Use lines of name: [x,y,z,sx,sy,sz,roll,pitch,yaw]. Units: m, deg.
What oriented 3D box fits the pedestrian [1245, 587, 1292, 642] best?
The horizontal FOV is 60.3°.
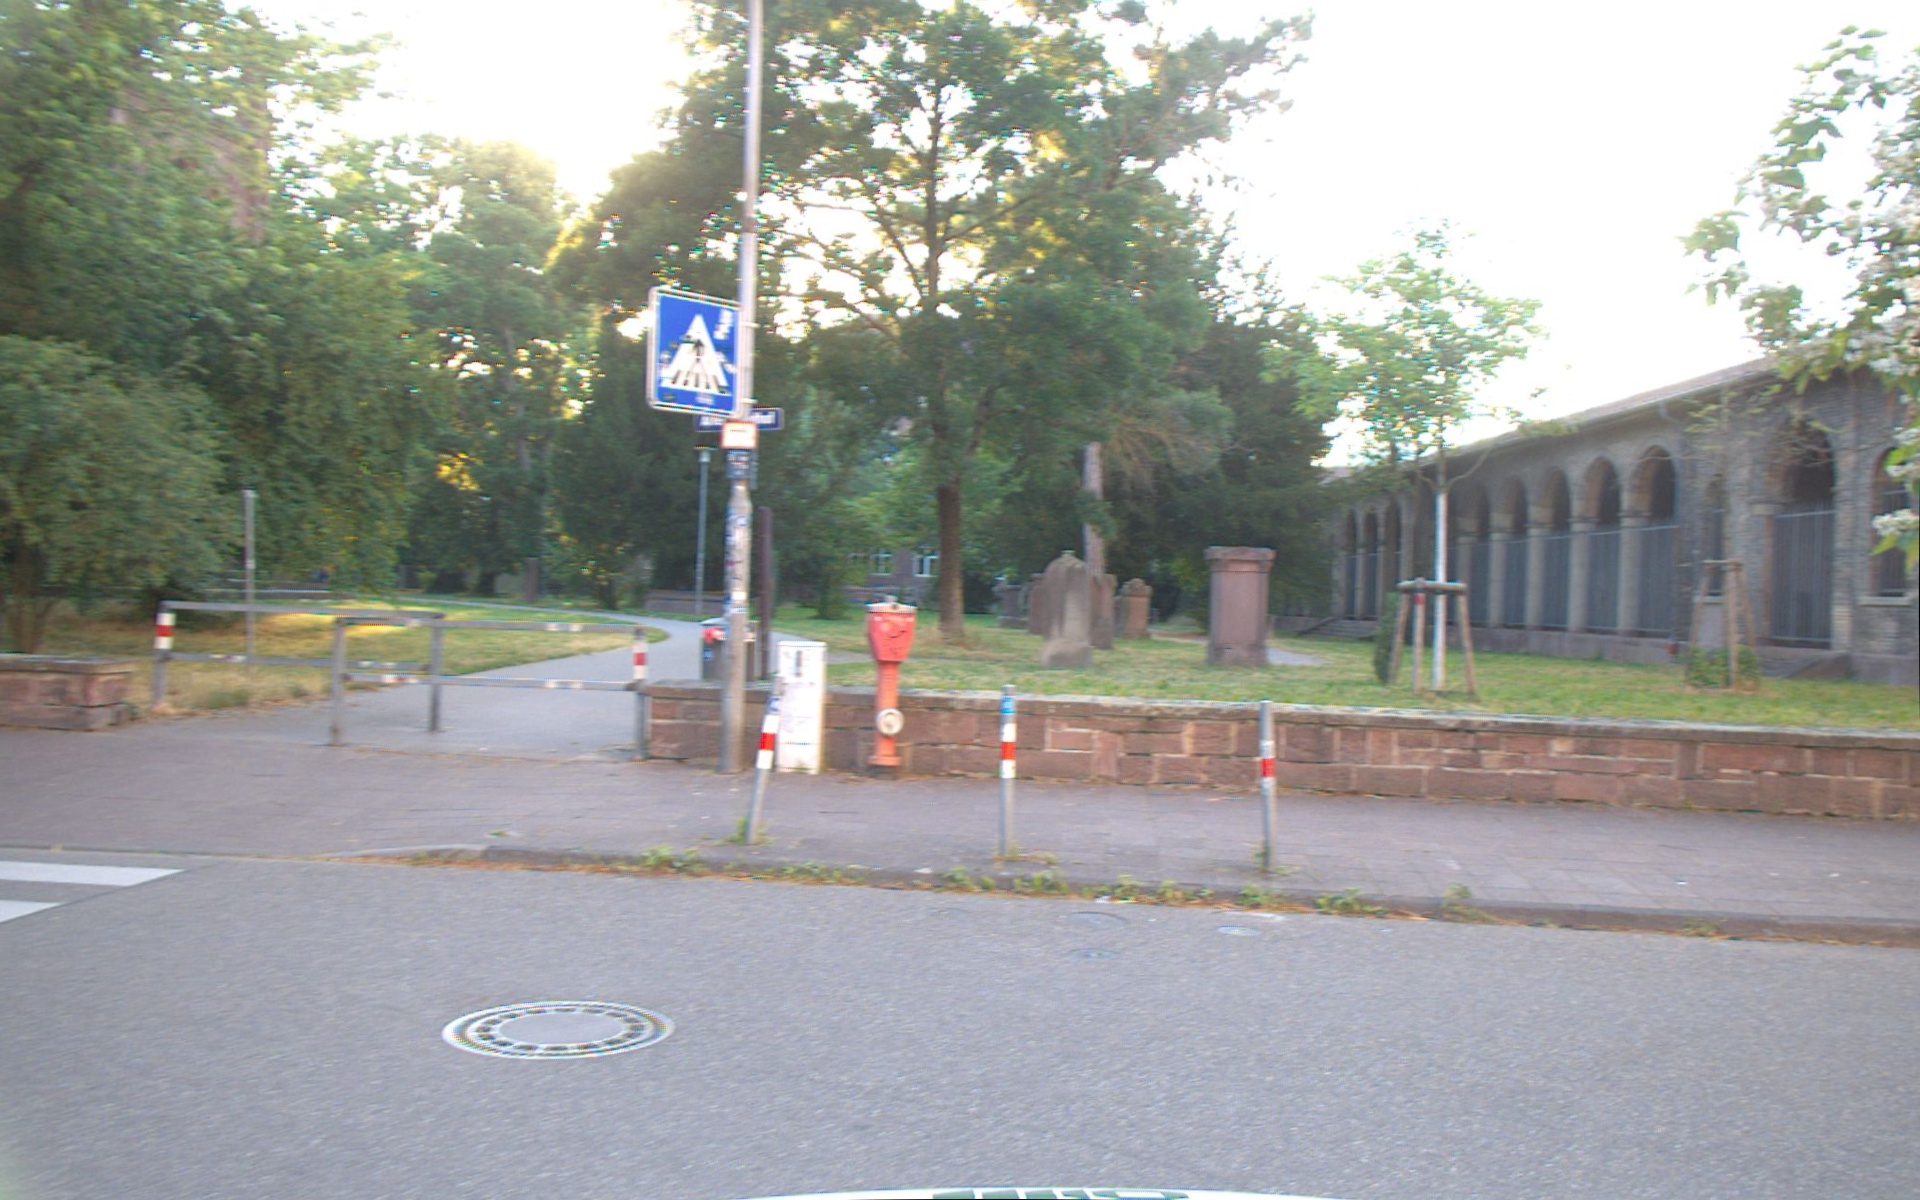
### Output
pedestrian: [8.496,0.398,45.523,1.250,1.451,1.238,1,0,11]
